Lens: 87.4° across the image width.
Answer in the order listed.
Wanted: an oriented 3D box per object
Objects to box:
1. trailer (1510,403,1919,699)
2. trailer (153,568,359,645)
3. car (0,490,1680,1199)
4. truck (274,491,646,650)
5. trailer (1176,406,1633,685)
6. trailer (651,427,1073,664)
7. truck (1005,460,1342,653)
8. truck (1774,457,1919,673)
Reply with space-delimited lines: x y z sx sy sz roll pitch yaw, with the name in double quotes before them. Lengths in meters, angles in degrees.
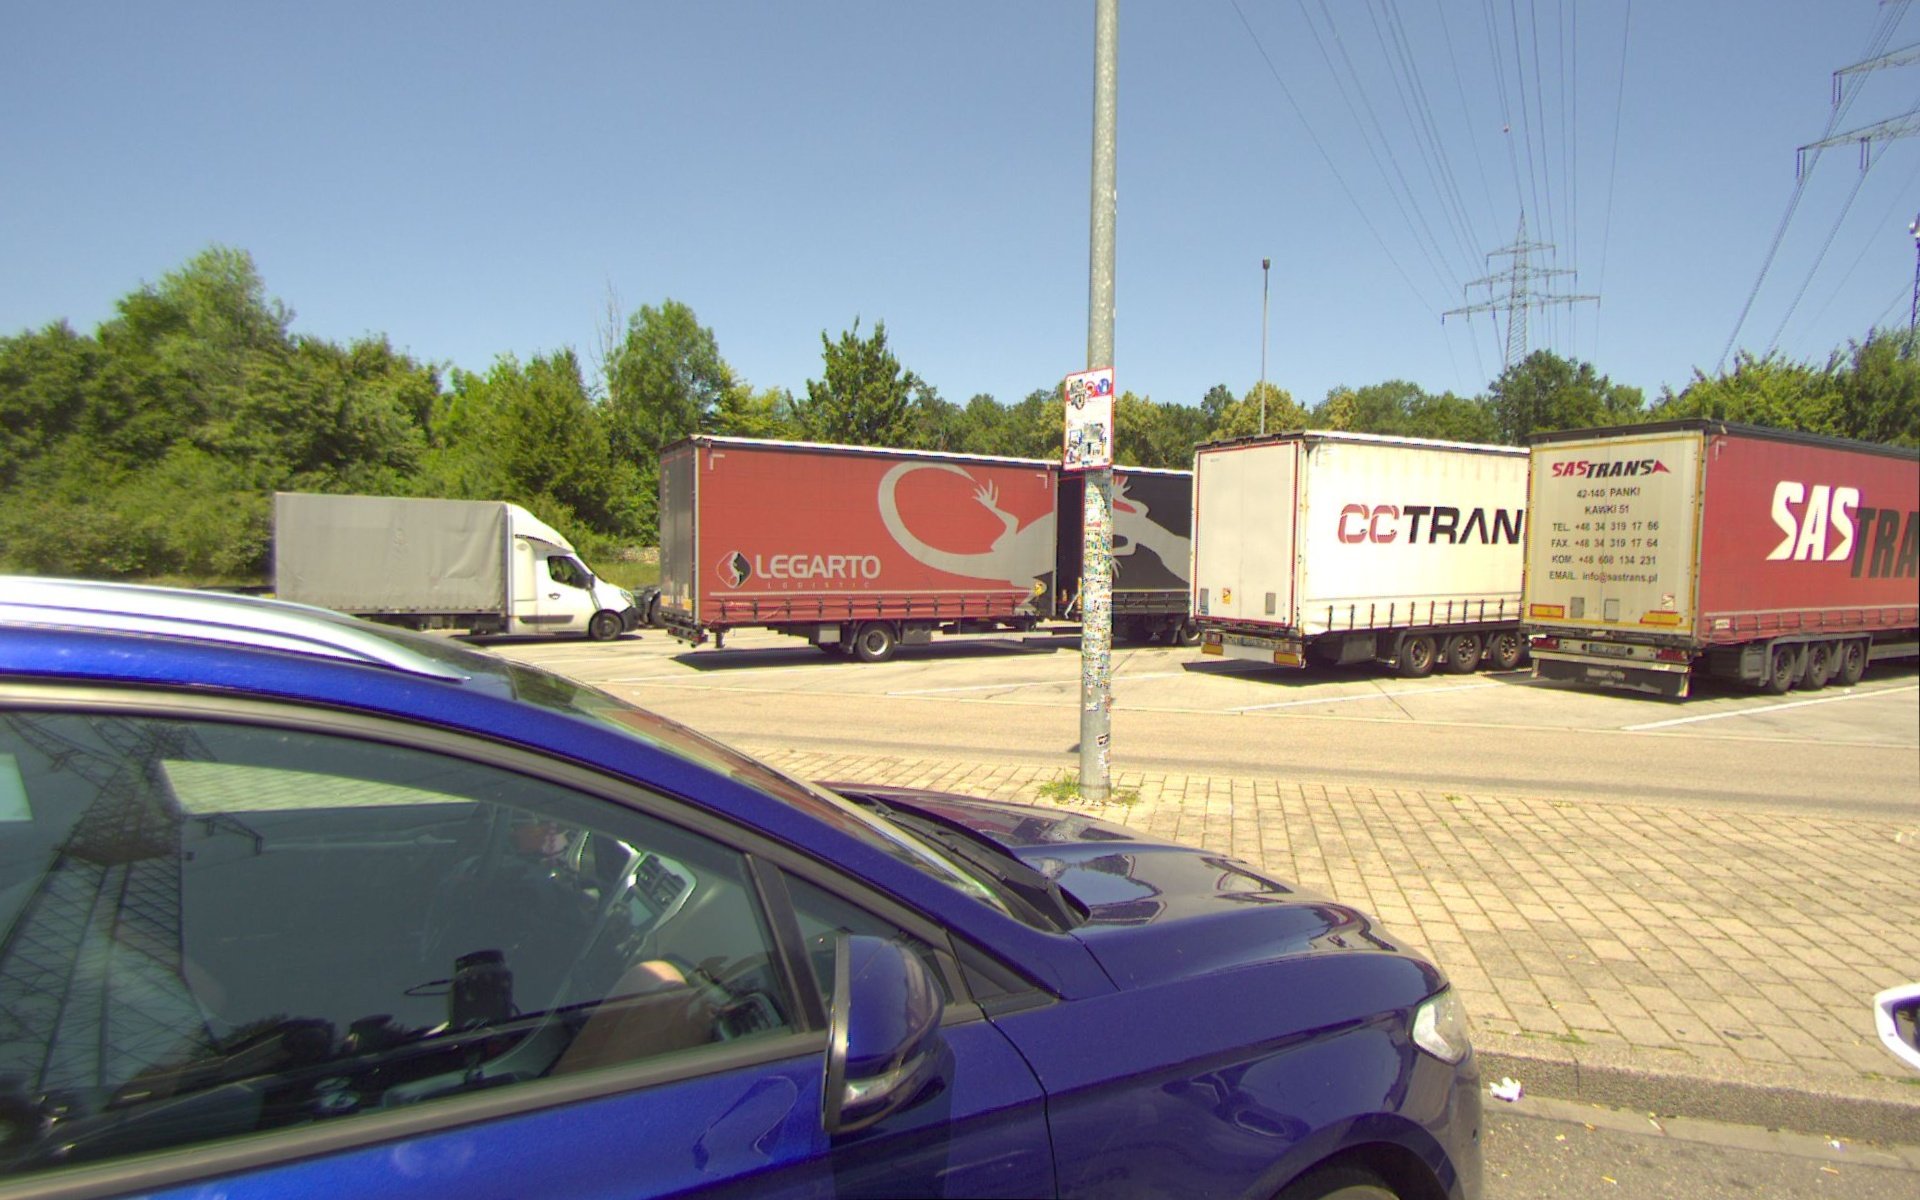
"trailer" 15.319 -0.672 18.516 13.129 4.112 2.736 0 1 -31
"trailer" -16.506 0.145 23.773 3.856 1.684 1.464 0 1 -30
"car" -1.010 0.655 1.461 4.419 1.485 1.765 0 1 -32
"truck" -11.125 -0.607 22.921 7.265 3.170 2.352 0 1 -30
"trailer" 8.710 -0.831 19.104 9.614 4.321 2.733 0 1 -29
"trailer" -1.792 -0.919 20.306 8.158 4.027 2.651 0 1 -31
"truck" 5.400 -0.912 24.579 8.534 4.073 2.624 0 1 -30
"truck" 20.817 -0.676 21.769 6.749 4.136 2.729 0 1 -31
